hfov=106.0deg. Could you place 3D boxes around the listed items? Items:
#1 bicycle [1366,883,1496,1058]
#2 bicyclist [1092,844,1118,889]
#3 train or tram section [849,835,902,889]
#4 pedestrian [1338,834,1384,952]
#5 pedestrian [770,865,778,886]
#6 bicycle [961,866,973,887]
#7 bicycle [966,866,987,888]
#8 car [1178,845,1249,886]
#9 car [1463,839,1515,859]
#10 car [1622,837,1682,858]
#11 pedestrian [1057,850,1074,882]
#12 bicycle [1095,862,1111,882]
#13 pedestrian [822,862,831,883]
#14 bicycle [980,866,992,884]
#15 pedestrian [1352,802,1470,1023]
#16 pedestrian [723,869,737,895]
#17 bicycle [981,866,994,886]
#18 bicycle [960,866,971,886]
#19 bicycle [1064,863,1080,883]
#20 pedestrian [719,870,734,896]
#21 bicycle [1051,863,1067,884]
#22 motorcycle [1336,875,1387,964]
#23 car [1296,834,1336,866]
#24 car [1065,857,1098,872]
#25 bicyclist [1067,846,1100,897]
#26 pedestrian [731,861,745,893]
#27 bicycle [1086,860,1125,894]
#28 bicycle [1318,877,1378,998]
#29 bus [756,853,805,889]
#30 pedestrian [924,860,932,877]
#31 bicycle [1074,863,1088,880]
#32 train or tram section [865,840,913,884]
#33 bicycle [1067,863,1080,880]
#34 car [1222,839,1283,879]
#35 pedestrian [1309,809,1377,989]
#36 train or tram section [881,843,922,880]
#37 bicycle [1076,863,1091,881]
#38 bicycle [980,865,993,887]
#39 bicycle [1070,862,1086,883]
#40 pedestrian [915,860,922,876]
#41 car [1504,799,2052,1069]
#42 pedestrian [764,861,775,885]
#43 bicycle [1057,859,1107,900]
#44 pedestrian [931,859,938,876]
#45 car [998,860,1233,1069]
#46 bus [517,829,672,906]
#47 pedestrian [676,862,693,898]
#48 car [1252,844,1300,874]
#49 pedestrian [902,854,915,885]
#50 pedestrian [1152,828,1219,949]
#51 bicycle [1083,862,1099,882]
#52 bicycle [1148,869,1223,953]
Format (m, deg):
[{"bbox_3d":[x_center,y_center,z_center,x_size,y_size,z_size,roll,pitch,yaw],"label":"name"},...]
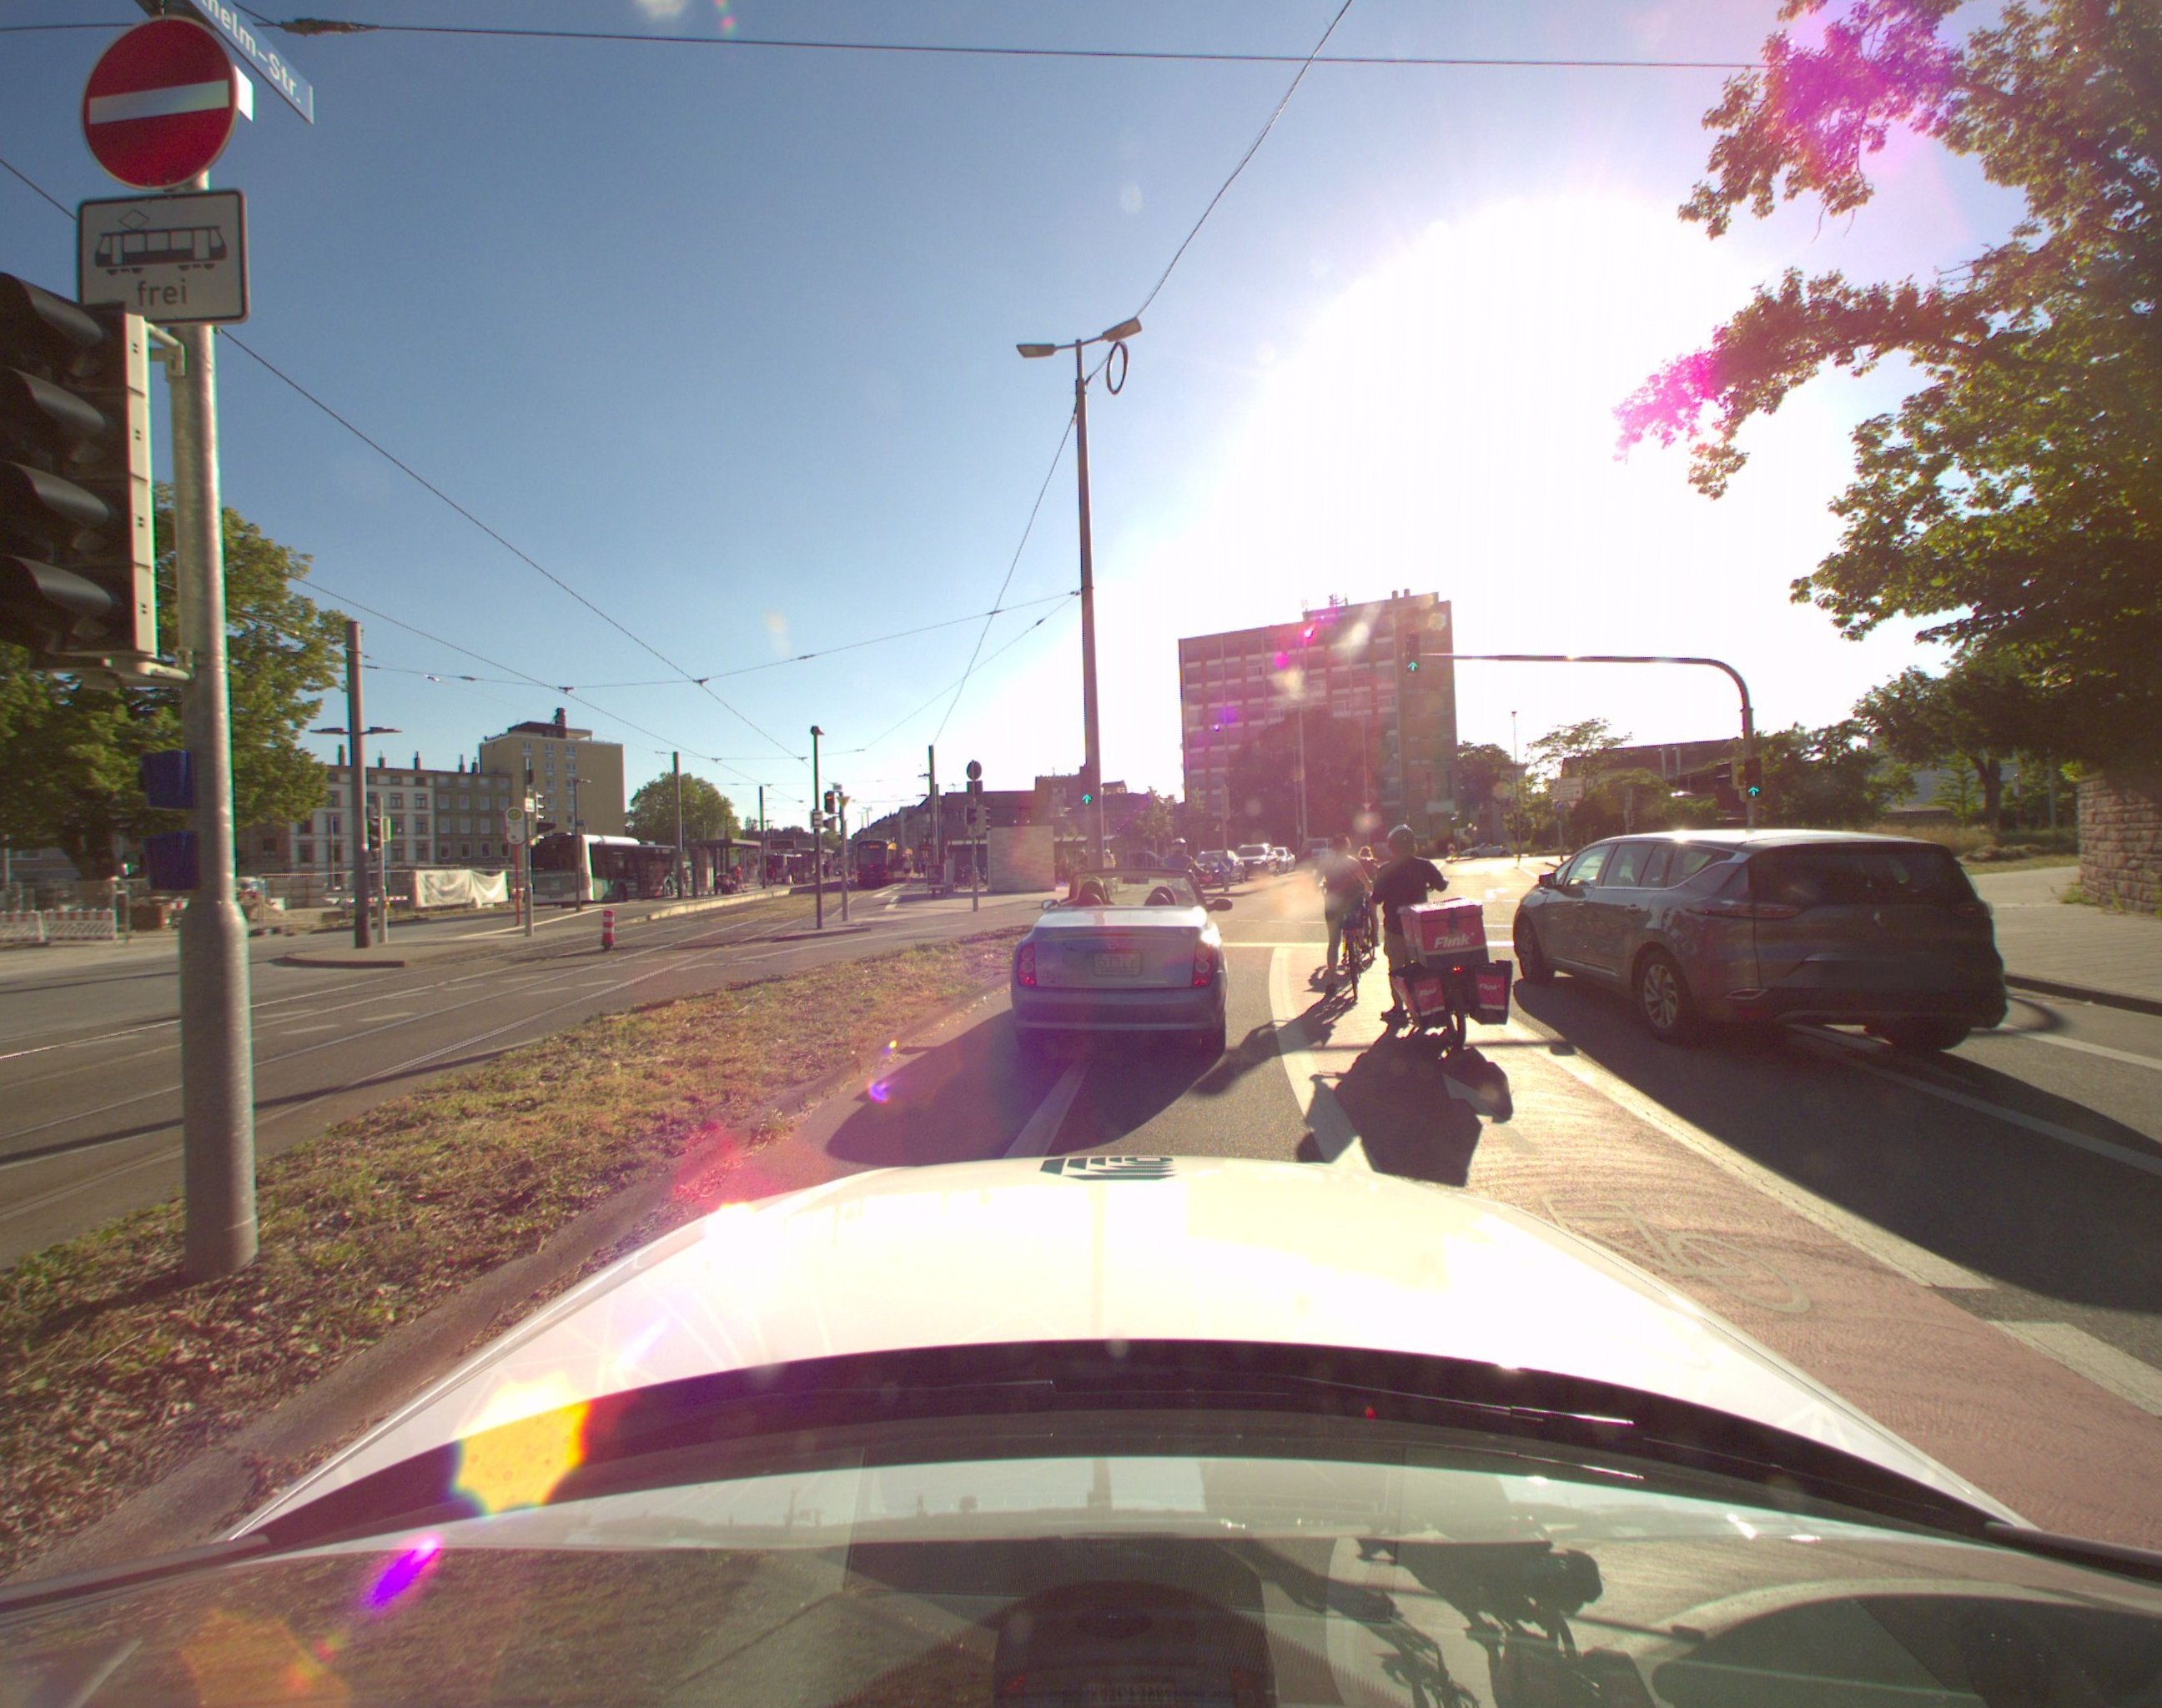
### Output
[{"bbox_3d":[2.918,0.873,7.017,0.550,1.171,2.380,-1,-1,12],"label":"bicycle"},{"bbox_3d":[0.904,0.465,30.858,0.702,1.657,0.747,-3,-1,24],"label":"bicyclist"},{"bbox_3d":[-15.261,0.583,61.216,2.881,3.597,12.158,0,-1,-10],"label":"train or tram section"},{"bbox_3d":[4.001,0.535,11.633,0.583,1.598,1.030,-1,-1,19],"label":"pedestrian"},{"bbox_3d":[-25.361,1.781,67.255,0.571,1.749,0.636,-2,-1,-17],"label":"pedestrian"},{"bbox_3d":[-6.213,1.232,44.359,0.607,1.115,1.890,0,-1,-10],"label":"bicycle"},{"bbox_3d":[-5.467,1.204,42.735,0.603,1.115,1.901,-1,-1,8],"label":"bicycle"},{"bbox_3d":[5.547,0.469,33.643,1.720,1.574,3.948,-1,-1,28],"label":"car"},{"bbox_3d":[36.385,-0.423,72.715,3.953,1.530,1.814,-4,-1,20],"label":"car"},{"bbox_3d":[47.585,-0.543,67.985,3.948,1.530,1.816,-4,-1,32],"label":"car"},{"bbox_3d":[-0.902,0.683,46.868,0.901,1.869,0.684,0,-1,-11],"label":"pedestrian"},{"bbox_3d":[1.248,1.007,45.681,0.606,1.115,1.892,0,-1,-7],"label":"bicycle"},{"bbox_3d":[-21.905,1.568,70.094,0.641,1.749,0.567,-2,-1,-25],"label":"pedestrian"},{"bbox_3d":[-5.902,1.287,50.624,0.607,1.115,1.890,0,-1,-10],"label":"bicycle"},{"bbox_3d":[2.977,0.503,7.447,0.801,1.869,0.959,-1,-1,10],"label":"pedestrian"},{"bbox_3d":[-18.732,1.475,43.463,0.571,1.346,0.636,-2,-1,-15],"label":"pedestrian"},{"bbox_3d":[-5.374,1.225,46.735,0.607,1.115,1.890,0,-1,-10],"label":"bicycle"},{"bbox_3d":[-6.560,1.251,46.294,0.606,1.115,1.891,0,-1,-8],"label":"bicycle"},{"bbox_3d":[-0.542,1.093,47.352,0.607,1.115,1.890,0,-1,-10],"label":"bicycle"},{"bbox_3d":[-18.603,1.521,42.776,0.617,1.340,0.438,-2,-1,-15],"label":"pedestrian"},{"bbox_3d":[-1.254,1.082,45.295,0.607,1.115,1.890,0,-1,-10],"label":"bicycle"},{"bbox_3d":[4.028,0.869,11.698,0.608,1.097,2.371,-1,-1,19],"label":"motorcycle"},{"bbox_3d":[15.932,-0.284,55.103,1.891,1.945,4.733,-4,-1,24],"label":"car"},{"bbox_3d":[0.031,1.174,88.656,1.653,1.560,3.559,-2,0,-37],"label":"car"},{"bbox_3d":[0.079,0.598,27.885,0.702,1.657,0.906,-5,-2,24],"label":"bicyclist"},{"bbox_3d":[-19.111,1.276,45.339,0.571,1.749,0.636,-2,-1,-15],"label":"pedestrian"},{"bbox_3d":[0.949,0.840,30.913,0.668,1.180,2.195,-3,0,24],"label":"bicycle"},{"bbox_3d":[2.944,0.853,9.057,0.559,1.151,1.958,-1,-1,17],"label":"bicycle"},{"bbox_3d":[-29.669,1.588,80.948,2.723,3.274,13.409,0,-1,-12],"label":"bus"},{"bbox_3d":[-16.100,1.485,85.747,0.639,1.749,0.732,-2,-1,-17],"label":"pedestrian"},{"bbox_3d":[-0.031,1.132,53.391,0.607,1.115,1.890,0,-1,-10],"label":"bicycle"},{"bbox_3d":[-17.066,0.706,73.257,3.010,3.597,12.165,0,-1,-8],"label":"train or tram section"},{"bbox_3d":[-0.558,1.205,56.911,0.607,1.115,1.890,0,-1,-10],"label":"bicycle"},{"bbox_3d":[8.336,0.200,39.252,1.745,1.706,4.557,-4,-1,26],"label":"car"},{"bbox_3d":[2.869,0.469,8.950,0.654,1.869,0.876,-1,-1,17],"label":"pedestrian"},{"bbox_3d":[-18.601,0.814,85.229,3.037,3.597,12.021,0,0,-7],"label":"train or tram section"},{"bbox_3d":[0.130,1.138,51.414,0.607,1.115,1.890,0,-1,-10],"label":"bicycle"},{"bbox_3d":[-5.177,1.194,44.665,0.607,1.115,1.890,0,-1,-10],"label":"bicycle"},{"bbox_3d":[-0.179,1.015,45.411,0.607,1.115,1.890,0,-1,-10],"label":"bicycle"},{"bbox_3d":[-18.073,1.531,90.535,0.604,1.749,0.830,-2,-1,-6],"label":"pedestrian"},{"bbox_3d":[5.556,0.523,7.403,1.820,1.689,4.381,-1,-1,10],"label":"car"},{"bbox_3d":[-22.915,1.401,59.907,0.641,1.749,0.567,-2,-1,-25],"label":"pedestrian"},{"bbox_3d":[0.050,0.833,27.765,0.668,1.250,2.471,-5,-1,24],"label":"bicycle"},{"bbox_3d":[-15.467,1.397,86.049,0.639,1.749,0.732,-2,-1,-17],"label":"pedestrian"},{"bbox_3d":[0.549,0.783,7.796,1.650,1.441,4.164,-1,-1,9],"label":"car"},{"bbox_3d":[-22.371,0.574,38.222,2.652,3.135,9.617,0,-1,-8],"label":"bus"},{"bbox_3d":[-19.637,1.273,40.363,0.536,1.749,0.559,-2,-1,-4],"label":"pedestrian"},{"bbox_3d":[11.048,0.255,45.990,1.678,1.560,4.004,-3,0,28],"label":"car"},{"bbox_3d":[-10.017,0.880,47.204,0.639,1.749,0.569,-2,-1,-17],"label":"pedestrian"},{"bbox_3d":[1.692,0.533,13.123,0.826,1.869,0.926,-1,-1,23],"label":"pedestrian"},{"bbox_3d":[0.557,1.055,47.714,0.607,1.115,1.890,0,-1,-10],"label":"bicycle"},{"bbox_3d":[1.733,0.860,13.120,0.602,1.191,2.427,-1,-1,22],"label":"bicycle"}]
